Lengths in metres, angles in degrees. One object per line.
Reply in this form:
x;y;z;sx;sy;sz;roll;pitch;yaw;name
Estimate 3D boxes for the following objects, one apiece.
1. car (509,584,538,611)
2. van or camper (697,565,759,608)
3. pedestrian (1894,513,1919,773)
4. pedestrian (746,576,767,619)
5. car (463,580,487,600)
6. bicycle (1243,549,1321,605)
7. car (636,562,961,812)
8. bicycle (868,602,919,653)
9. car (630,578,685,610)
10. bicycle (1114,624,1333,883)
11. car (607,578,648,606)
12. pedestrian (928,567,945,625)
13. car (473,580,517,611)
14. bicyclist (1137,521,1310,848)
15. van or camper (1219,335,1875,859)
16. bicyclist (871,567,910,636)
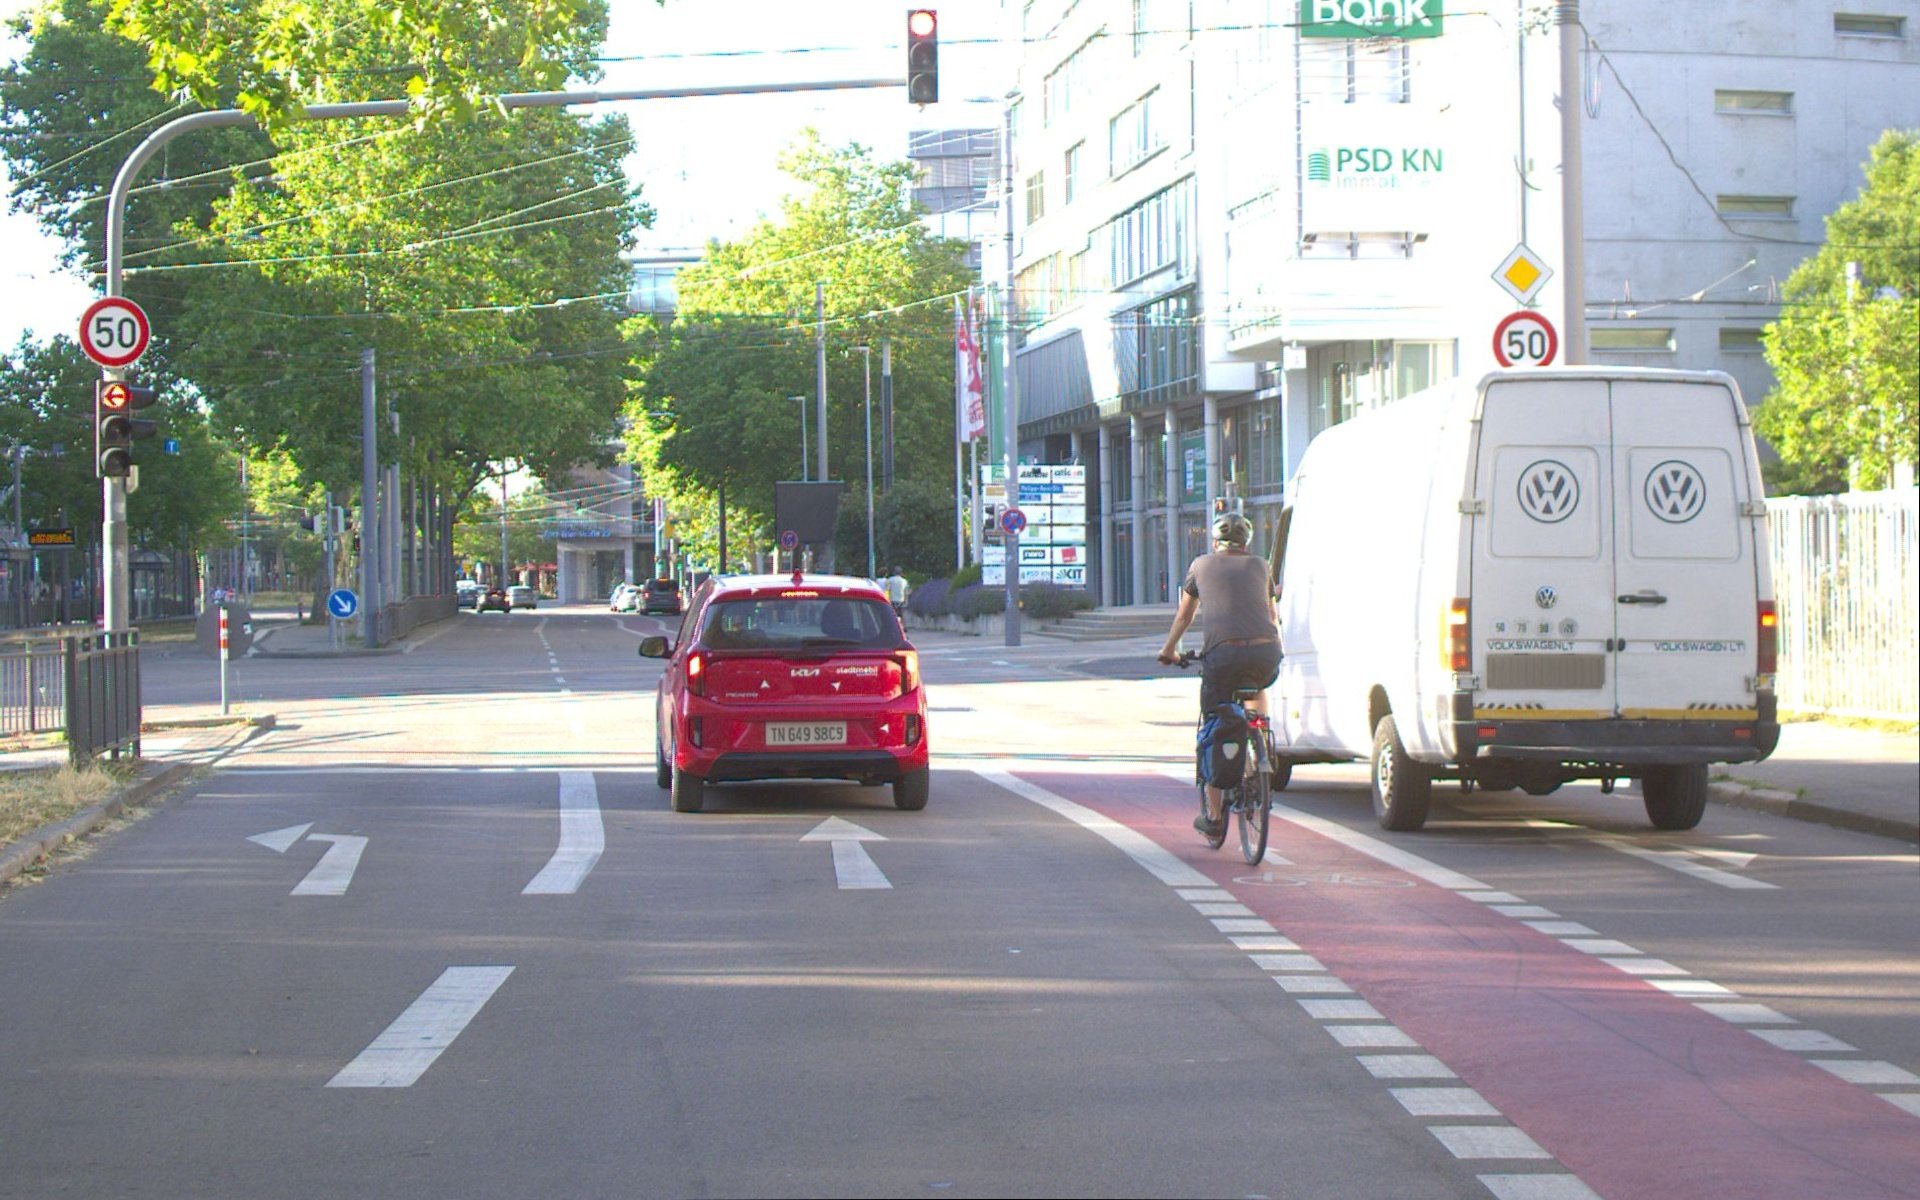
-26.915;-0.146;211.878;1.657;1.601;3.532;-2;1;-8;car
-10.009;-0.592;147.918;2.145;1.744;4.433;-2;1;-10;van or camper
6.790;0.279;23.018;0.786;1.742;0.772;-2;1;-5;pedestrian
-8.235;-0.098;139.034;0.742;1.710;0.748;-1;0;-7;pedestrian
-32.599;-0.686;231.105;1.574;1.302;3.340;-2;1;-8;car
8.565;-0.623;91.452;1.934;1.438;0.575;-2;1;-8;bicycle
-1.154;0.511;22.812;1.839;1.484;3.717;-1;1;-7;car
-1.597;0.651;82.146;0.792;1.157;2.500;-1;1;-11;bicycle
-15.509;-0.317;176.063;2.478;1.523;4.433;-2;1;-9;car
1.348;0.762;17.988;0.743;1.220;2.156;1;1;-6;bicycle
-18.855;-0.455;194.718;1.884;1.523;4.433;-2;1;-10;car
-0.635;-0.105;92.563;0.314;1.557;0.294;-1;0;31;pedestrian
-25.734;-0.269;190.160;2.057;1.648;3.493;-2;1;-12;car
1.363;0.428;17.909;0.743;1.663;0.745;1;1;-7;bicyclist
3.368;-0.037;21.418;2.268;2.724;6.348;1;0;-7;van or camper
-1.666;0.041;82.402;0.785;1.629;0.639;-1;0;-11;bicyclist
